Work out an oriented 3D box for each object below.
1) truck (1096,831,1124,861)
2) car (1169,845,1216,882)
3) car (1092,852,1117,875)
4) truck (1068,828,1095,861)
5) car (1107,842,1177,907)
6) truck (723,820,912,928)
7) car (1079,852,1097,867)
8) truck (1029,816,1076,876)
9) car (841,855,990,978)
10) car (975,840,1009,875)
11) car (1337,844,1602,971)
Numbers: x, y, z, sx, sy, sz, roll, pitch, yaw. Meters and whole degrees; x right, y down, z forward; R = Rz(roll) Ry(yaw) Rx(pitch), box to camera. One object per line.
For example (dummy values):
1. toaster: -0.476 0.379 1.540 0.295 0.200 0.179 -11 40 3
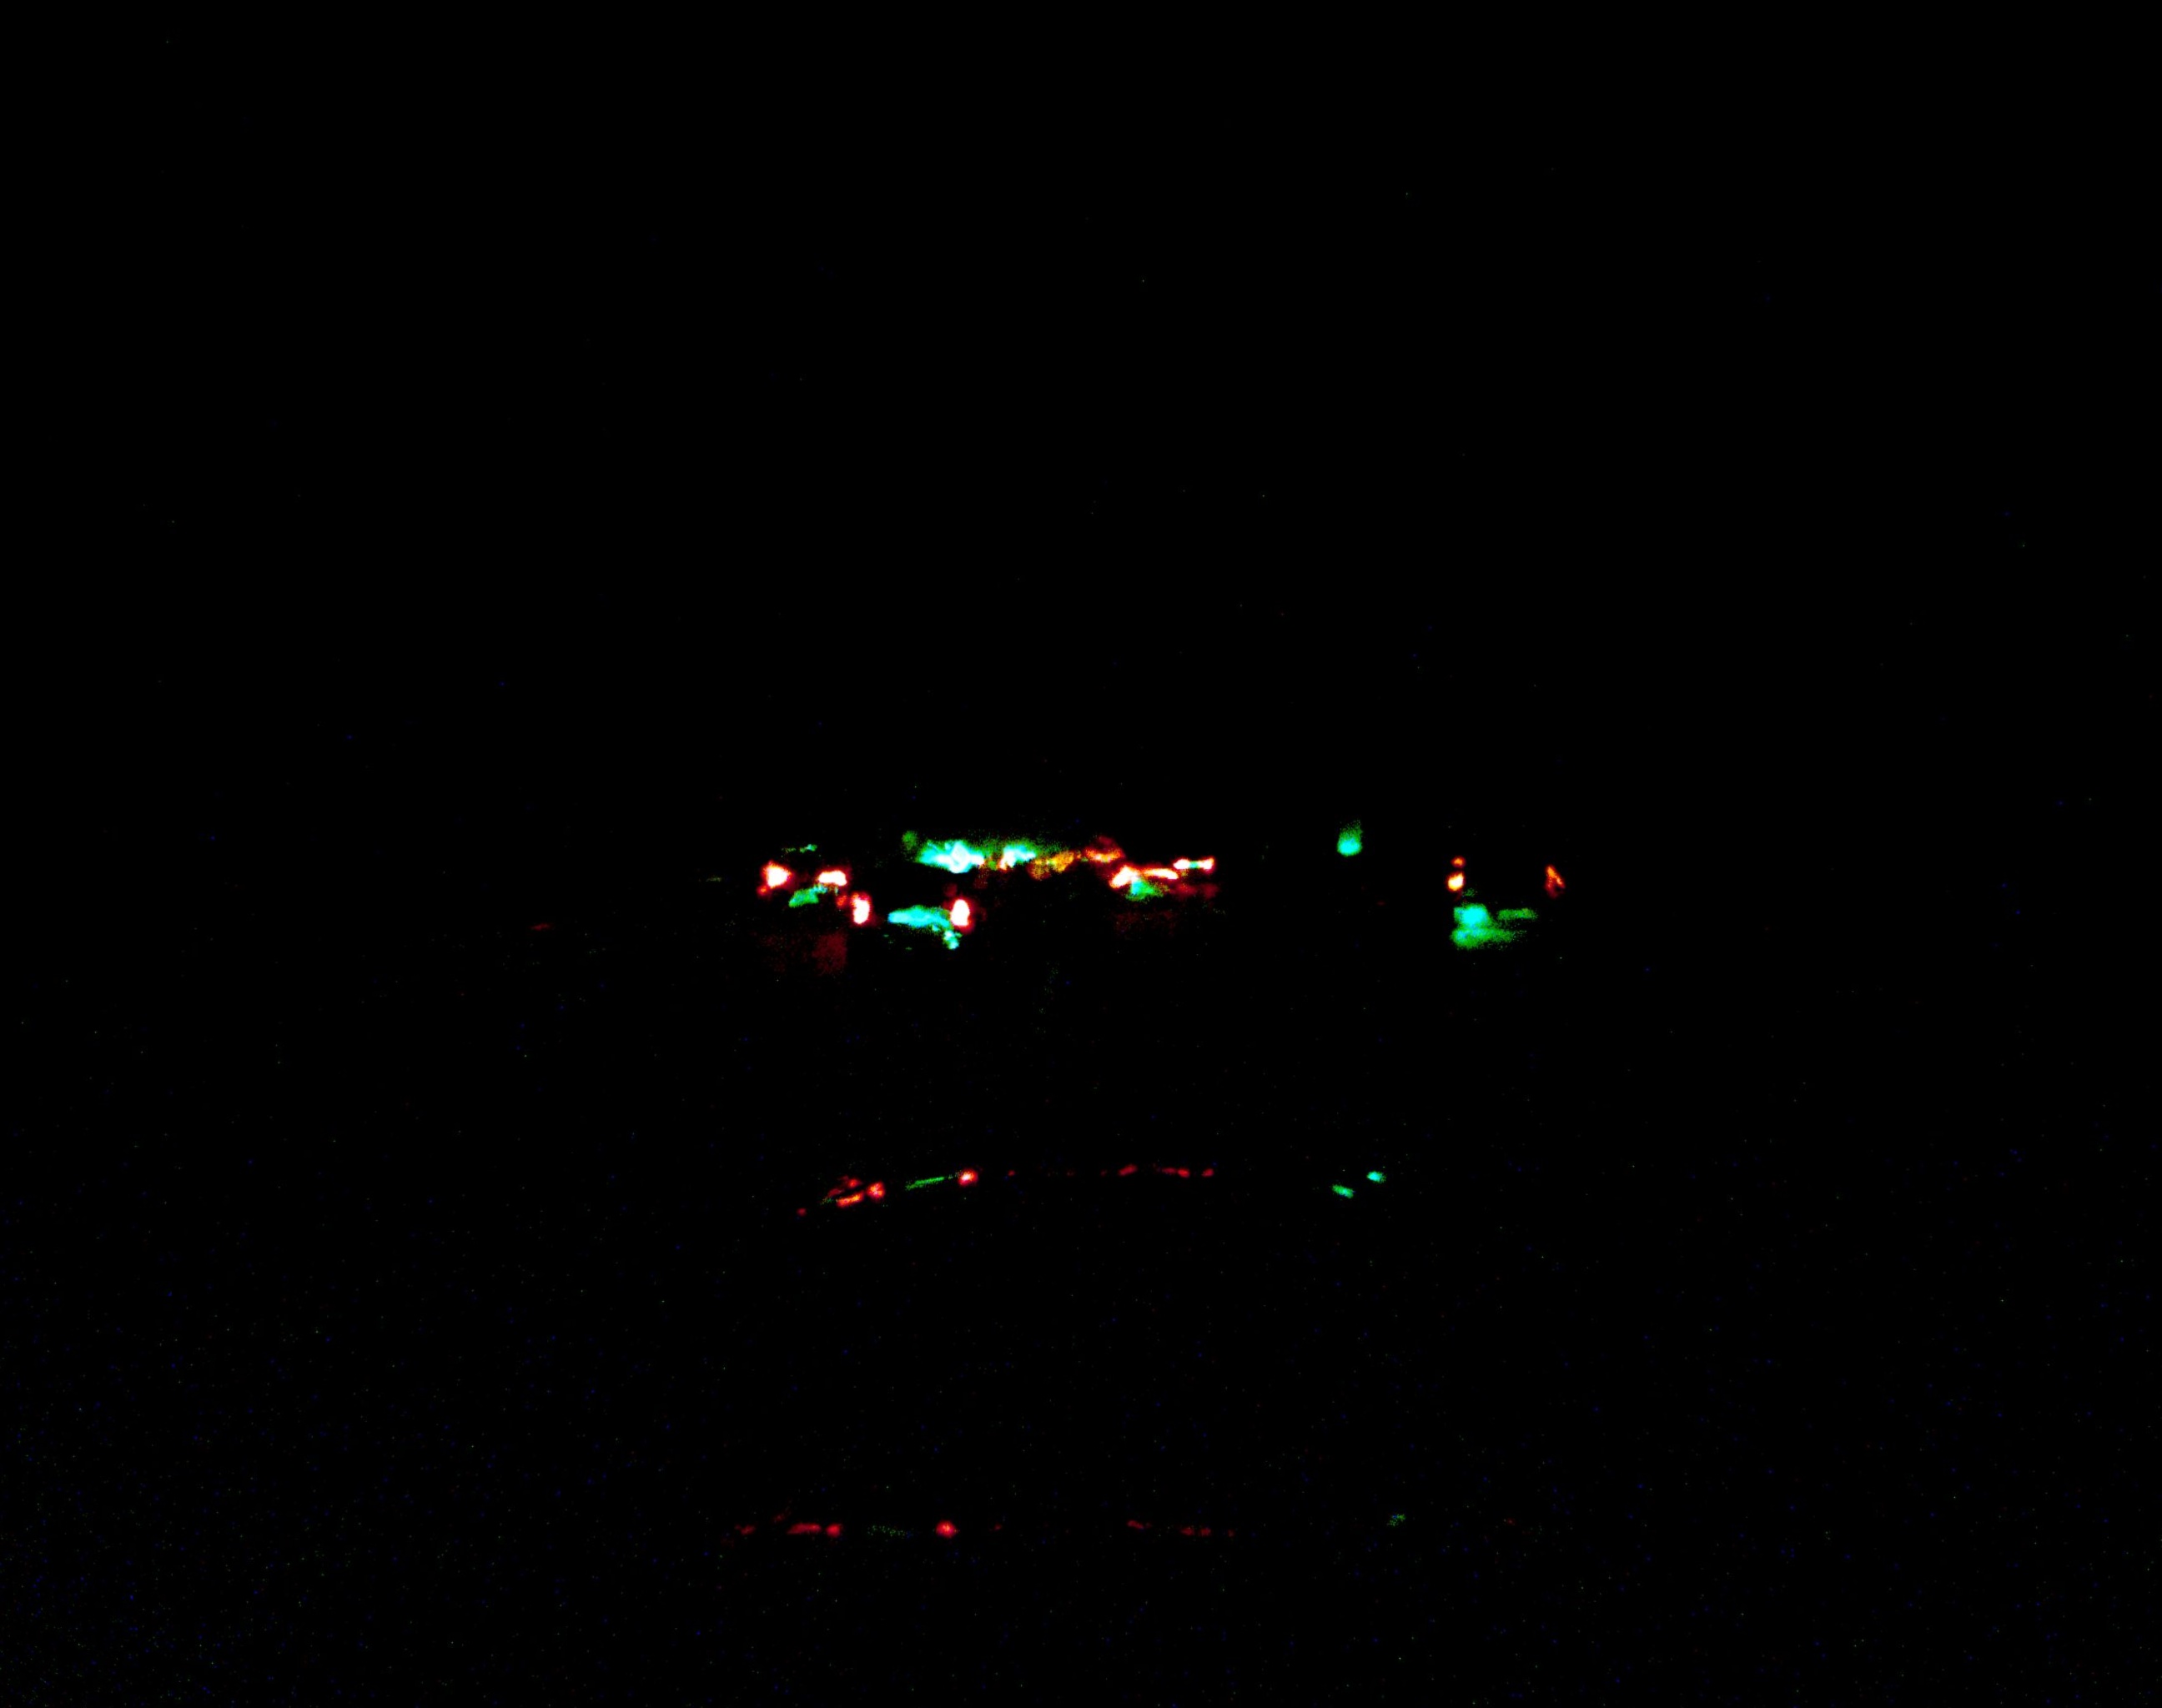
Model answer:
1. truck: 5.200 -1.438 147.835 4.151 5.215 9.944 0 -1 -3
2. car: 5.499 0.469 40.663 1.871 1.762 4.000 0 -1 1
3. car: 1.857 0.781 65.142 1.761 1.762 3.998 0 -1 -1
4. truck: 0.160 -1.520 137.623 4.238 5.444 10.888 0 -1 2
5. car: 1.673 0.523 23.431 1.759 1.689 4.001 -1 0 1
6. truck: -5.998 0.425 19.639 2.850 2.201 5.853 0 -1 -3
7. car: 0.830 0.657 96.205 1.987 1.704 4.458 0 -1 0
8. truck: -2.588 -0.596 69.179 3.649 4.737 9.838 0 -1 -4
9. car: -2.249 0.759 12.039 1.654 1.431 4.239 -1 0 -5
10. car: -6.204 0.254 56.991 2.261 2.273 5.373 0 -1 -6
11. car: 5.201 0.617 11.603 1.764 1.457 4.194 -1 0 0
